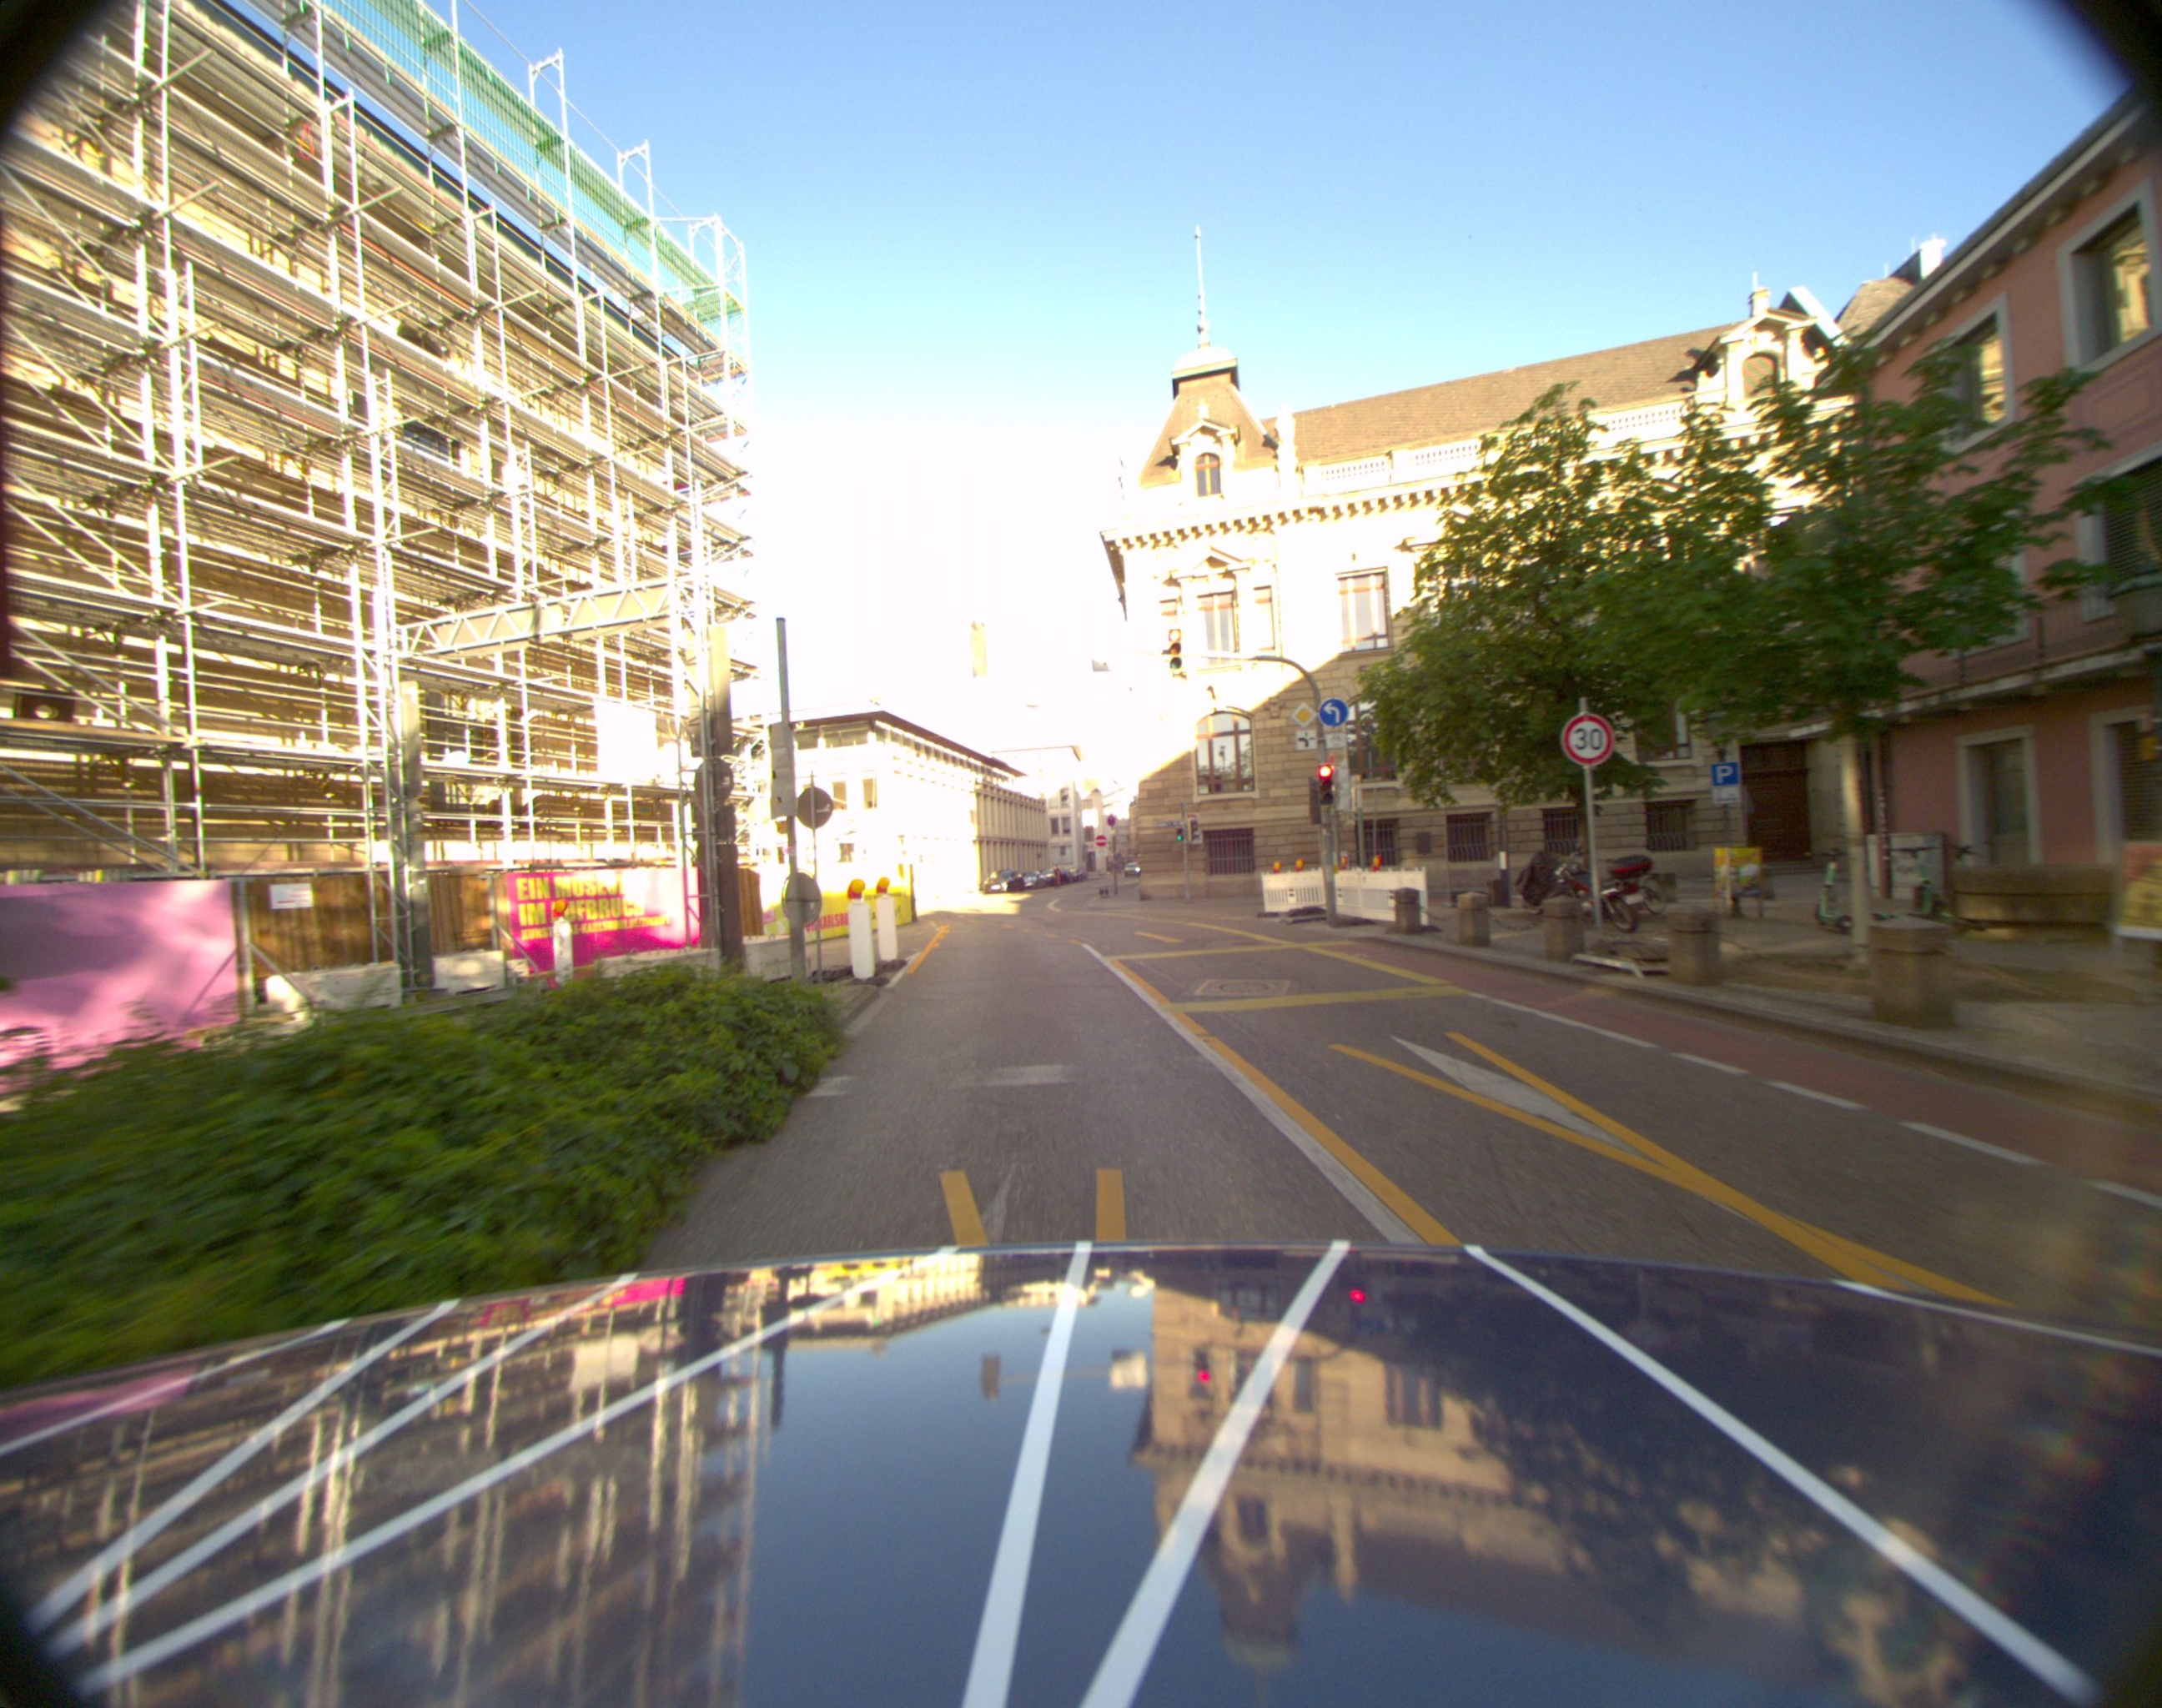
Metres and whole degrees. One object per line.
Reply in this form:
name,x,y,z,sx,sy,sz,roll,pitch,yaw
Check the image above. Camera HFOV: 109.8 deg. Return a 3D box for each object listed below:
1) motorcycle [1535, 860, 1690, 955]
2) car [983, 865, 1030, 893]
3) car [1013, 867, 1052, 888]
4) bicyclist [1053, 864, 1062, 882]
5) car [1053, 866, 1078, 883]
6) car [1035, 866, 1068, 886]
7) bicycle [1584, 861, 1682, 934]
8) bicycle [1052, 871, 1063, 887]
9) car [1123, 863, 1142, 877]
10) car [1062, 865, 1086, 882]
motorcycle,8.227,0.773,11.939,0.814,1.309,2.337,-2,-1,2
car,-5.019,1.679,51.983,1.897,1.614,4.625,-4,-1,10
car,-3.678,1.792,58.595,1.699,1.336,4.602,-4,-1,13
bicyclist,-1.707,1.386,55.314,0.537,1.280,0.552,-4,0,9
car,-1.445,1.920,70.490,1.630,1.391,3.889,-4,-1,8
car,-2.443,1.856,64.538,1.700,1.461,4.795,-4,-1,10
bicycle,9.930,0.739,13.638,2.008,1.199,0.682,-1,1,-31
bicycle,-1.687,1.799,55.191,0.535,1.060,1.426,-4,0,8
car,6.101,1.871,89.567,1.853,1.482,4.257,-4,-1,8
car,-0.668,1.928,75.706,1.697,1.482,4.257,-4,-1,8
